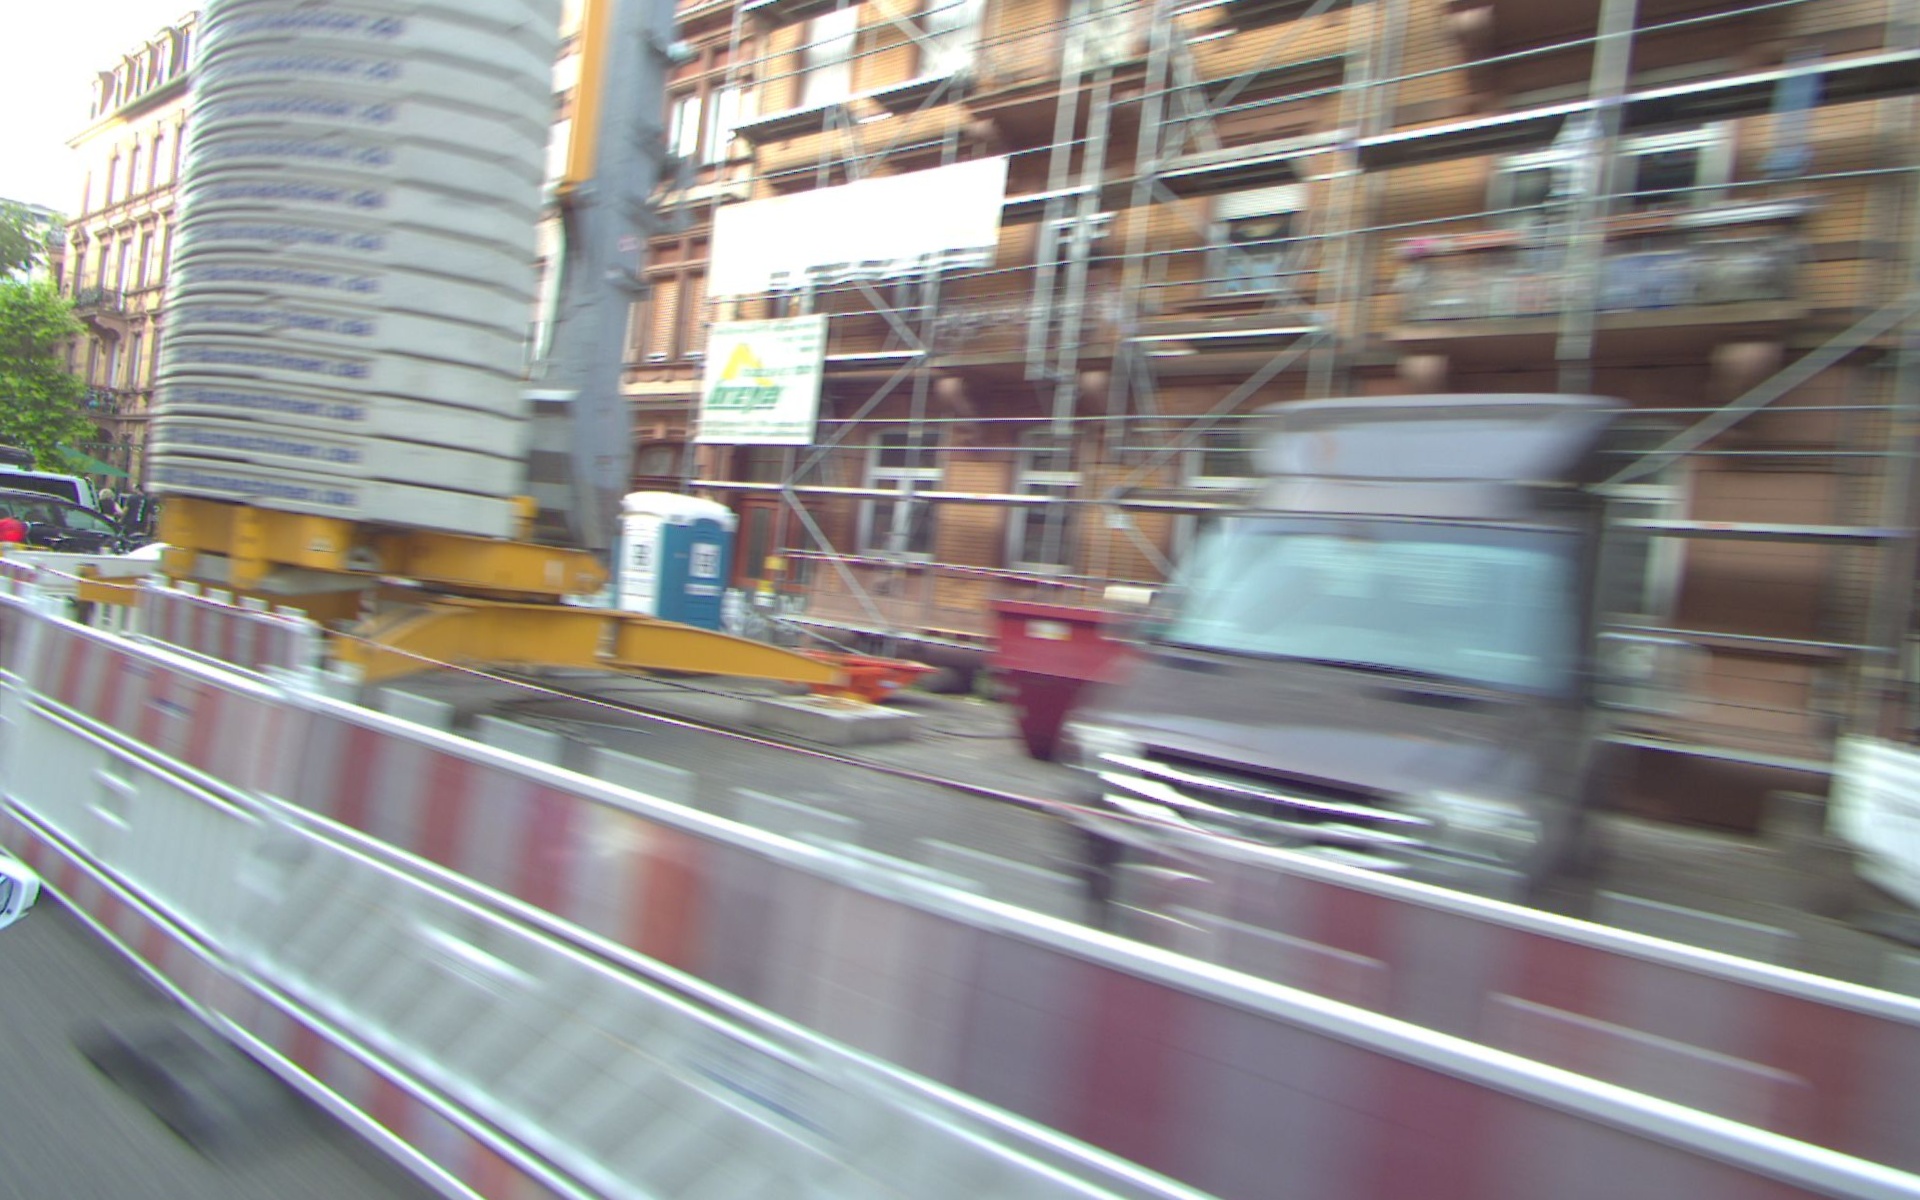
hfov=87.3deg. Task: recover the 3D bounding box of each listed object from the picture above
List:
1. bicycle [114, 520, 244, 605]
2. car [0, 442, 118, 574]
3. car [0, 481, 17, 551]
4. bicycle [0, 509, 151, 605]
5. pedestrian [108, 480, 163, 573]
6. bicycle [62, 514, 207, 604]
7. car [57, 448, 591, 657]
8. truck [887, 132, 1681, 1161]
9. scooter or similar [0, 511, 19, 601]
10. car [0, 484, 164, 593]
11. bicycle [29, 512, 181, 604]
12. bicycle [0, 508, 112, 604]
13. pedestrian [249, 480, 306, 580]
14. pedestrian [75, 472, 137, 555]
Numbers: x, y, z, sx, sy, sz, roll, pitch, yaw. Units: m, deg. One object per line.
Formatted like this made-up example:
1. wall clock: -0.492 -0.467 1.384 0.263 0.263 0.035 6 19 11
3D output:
1. bicycle: -12.662 -0.608 16.320 1.780 1.151 0.496 7 2 7
2. car: -19.220 -1.921 18.933 1.962 2.392 4.941 7 0 9
3. car: -23.697 -2.053 22.070 1.850 1.611 4.164 7 2 4
4. bicycle: -12.823 -0.612 14.537 1.781 1.151 0.496 7 2 0
5. pedestrian: -19.185 -1.702 23.408 0.645 2.037 0.624 6 -1 31
6. bicycle: -12.836 -0.632 15.661 1.781 1.151 0.496 7 2 0
7. car: -7.440 -0.430 12.428 1.868 1.981 5.172 8 2 34
8. truck: 2.767 0.391 6.366 2.487 3.111 6.483 6 -2 38
9. scooter or similar: -13.257 -0.651 13.111 1.456 1.165 0.656 7 2 11
10. car: -14.974 -1.036 15.571 1.812 1.535 3.869 7 0 9
11. bicycle: -12.834 -0.621 15.114 1.781 1.151 0.496 7 2 0
12. bicycle: -12.827 -0.628 13.905 1.780 1.151 0.496 7 2 3
13. pedestrian: -12.717 -1.299 18.743 0.681 1.773 0.816 3 3 -44
14. pedestrian: -19.080 -1.928 22.490 0.643 1.700 0.626 7 -1 13
